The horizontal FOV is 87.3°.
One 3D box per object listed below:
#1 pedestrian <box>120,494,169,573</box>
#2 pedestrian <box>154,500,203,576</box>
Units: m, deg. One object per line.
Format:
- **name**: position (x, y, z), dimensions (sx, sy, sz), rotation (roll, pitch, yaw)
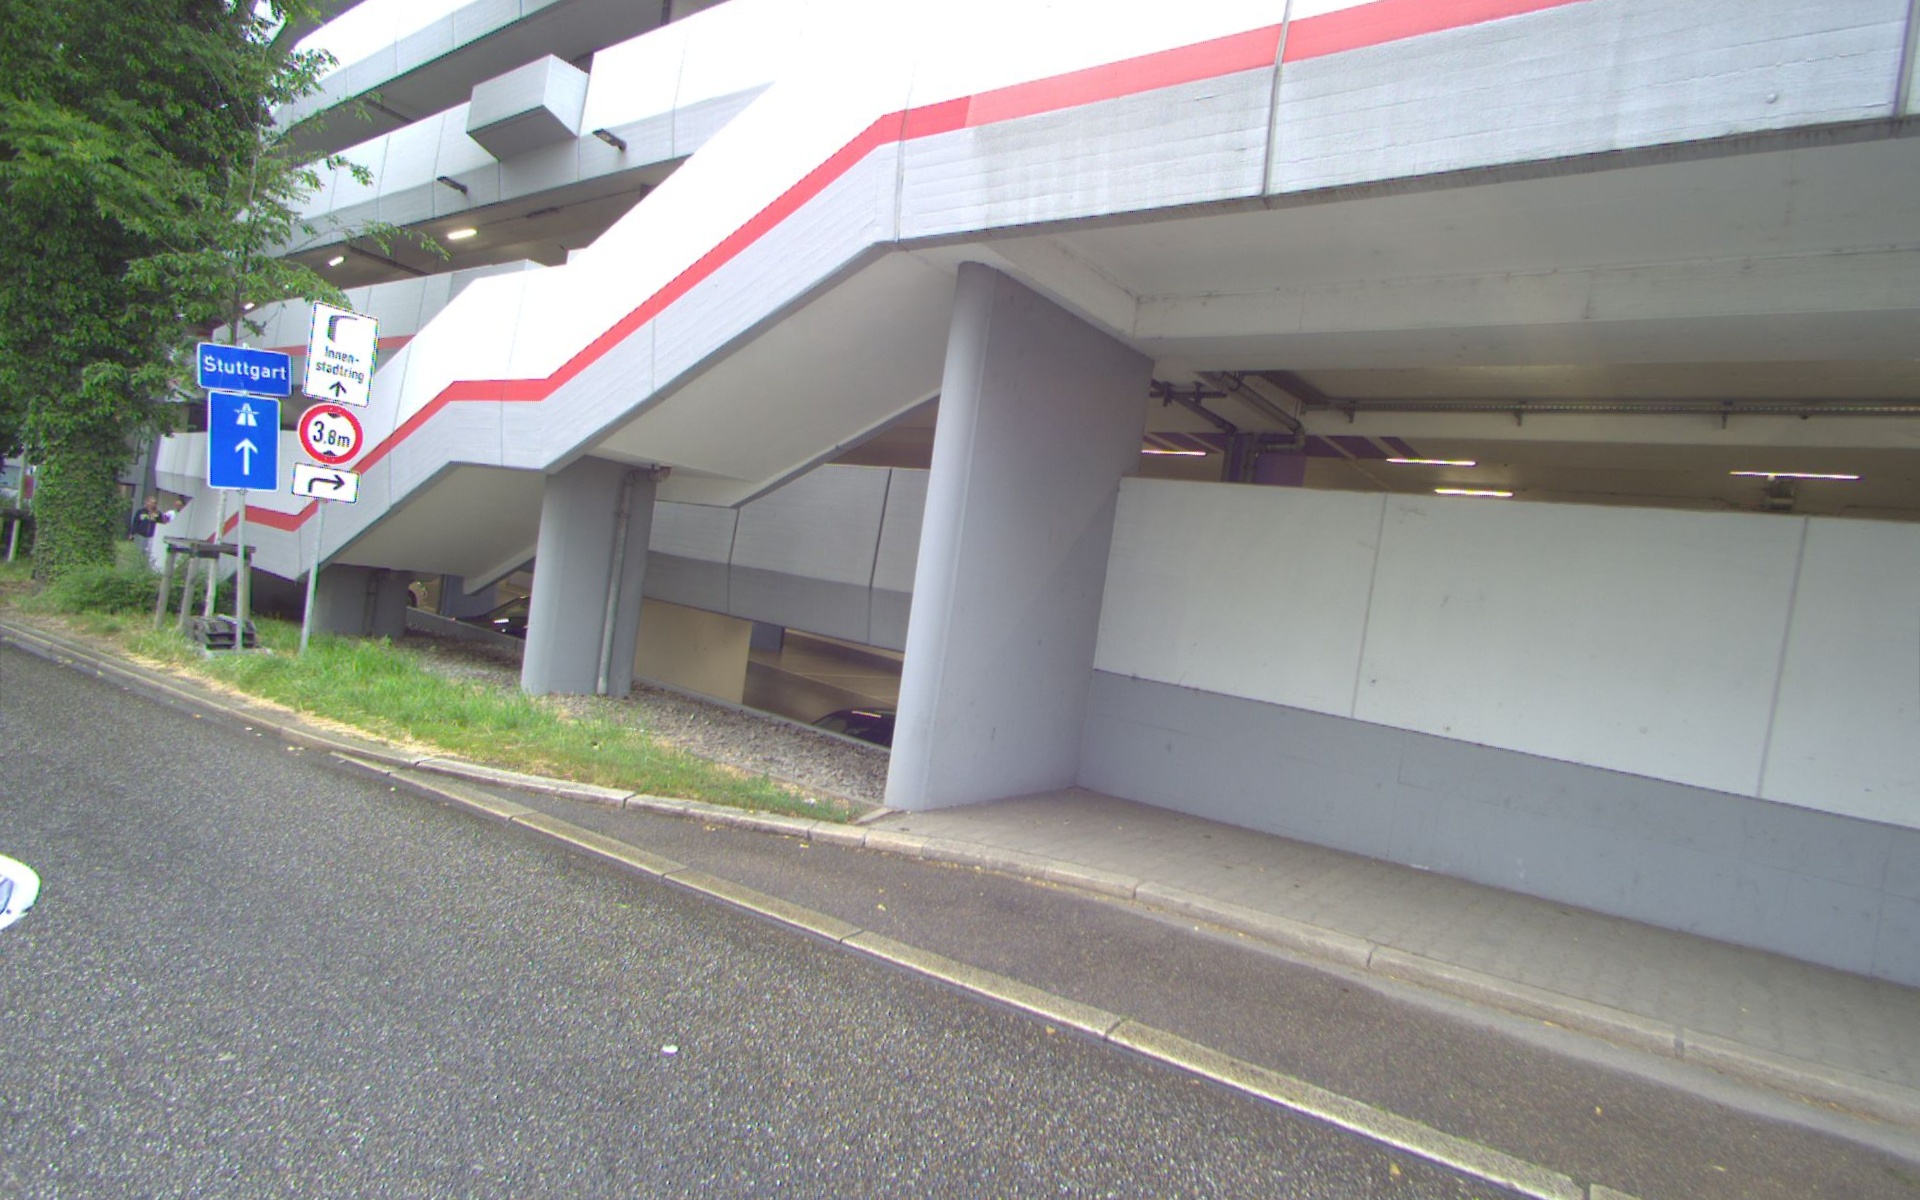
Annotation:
- **pedestrian**: position (-17.070, -1.385, 21.059), dimensions (0.481, 1.550, 0.551), rotation (6, -1, 38)
- **pedestrian**: position (-16.711, -1.318, 21.513), dimensions (0.496, 1.519, 0.582), rotation (6, -1, 37)
